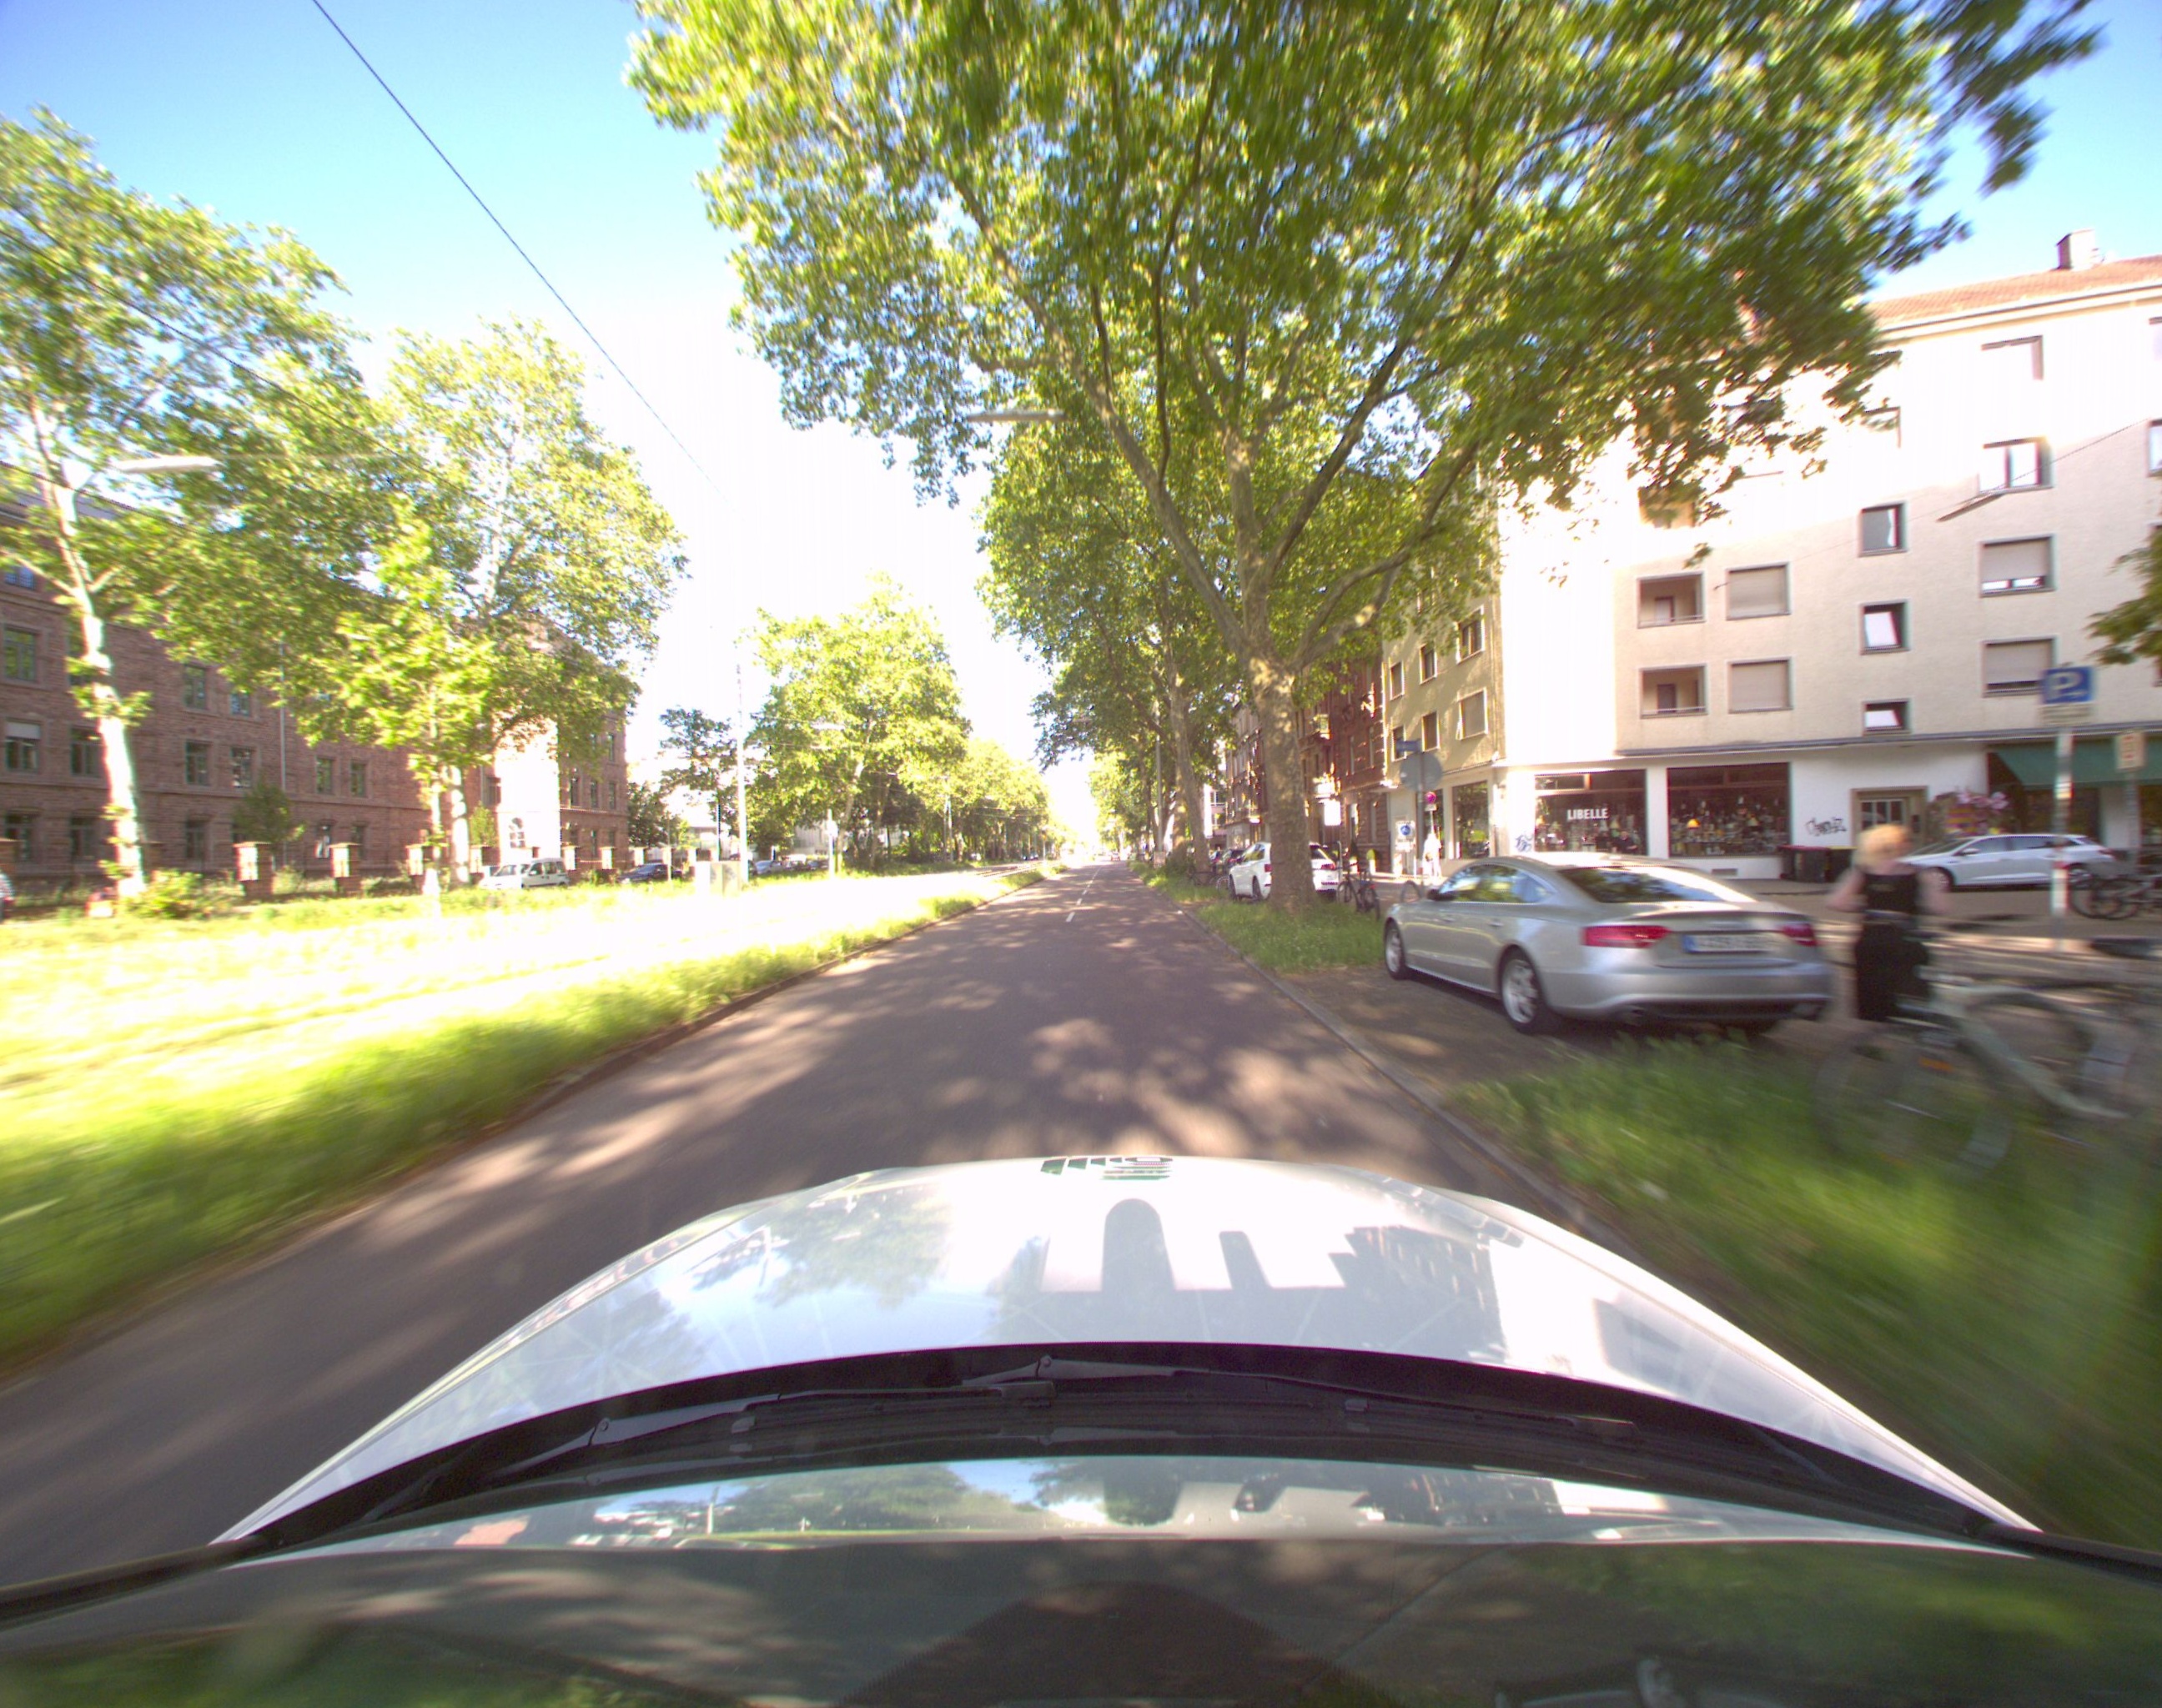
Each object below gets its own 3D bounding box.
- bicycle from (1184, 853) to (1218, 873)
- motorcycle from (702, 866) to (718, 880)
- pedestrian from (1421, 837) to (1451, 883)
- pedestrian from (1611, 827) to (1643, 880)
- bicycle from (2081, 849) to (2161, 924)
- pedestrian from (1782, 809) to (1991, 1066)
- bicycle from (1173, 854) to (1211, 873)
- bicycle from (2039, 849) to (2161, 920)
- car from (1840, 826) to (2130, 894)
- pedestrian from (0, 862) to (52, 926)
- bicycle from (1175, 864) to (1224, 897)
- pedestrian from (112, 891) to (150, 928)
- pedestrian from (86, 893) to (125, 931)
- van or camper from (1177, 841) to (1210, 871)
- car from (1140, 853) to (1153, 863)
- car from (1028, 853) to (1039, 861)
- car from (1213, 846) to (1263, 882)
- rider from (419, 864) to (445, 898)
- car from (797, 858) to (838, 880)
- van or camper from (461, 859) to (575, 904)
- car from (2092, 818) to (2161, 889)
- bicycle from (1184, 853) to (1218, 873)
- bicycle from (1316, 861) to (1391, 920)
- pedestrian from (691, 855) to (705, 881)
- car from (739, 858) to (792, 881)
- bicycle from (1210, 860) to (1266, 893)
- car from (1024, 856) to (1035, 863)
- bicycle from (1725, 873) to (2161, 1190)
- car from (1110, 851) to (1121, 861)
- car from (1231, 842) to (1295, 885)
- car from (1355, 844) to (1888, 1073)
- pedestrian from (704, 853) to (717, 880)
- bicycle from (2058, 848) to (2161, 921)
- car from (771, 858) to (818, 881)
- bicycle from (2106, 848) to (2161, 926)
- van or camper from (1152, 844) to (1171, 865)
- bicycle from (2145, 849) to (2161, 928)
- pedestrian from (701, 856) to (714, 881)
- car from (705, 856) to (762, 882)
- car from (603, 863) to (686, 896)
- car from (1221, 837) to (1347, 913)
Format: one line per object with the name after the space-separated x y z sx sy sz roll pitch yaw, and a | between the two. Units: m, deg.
7.845 0.584 53.405 2.154 1.294 0.984 0 0 3 | bicycle
-27.981 1.416 61.414 0.581 1.053 1.294 -1 -1 2 | motorcycle
13.356 0.212 30.680 0.792 1.704 0.724 -2 0 2 | pedestrian
17.377 -0.011 25.925 0.587 1.650 0.727 -1 0 13 | pedestrian
16.510 0.467 12.060 2.119 1.103 0.511 -1 0 26 | bicycle
5.399 0.525 5.507 0.685 1.611 0.713 1 0 2 | pedestrian
7.791 0.631 57.222 2.544 1.294 0.973 0 0 -5 | bicycle
17.002 0.480 13.037 2.119 1.103 0.475 -1 0 26 | bicycle
22.686 0.158 20.701 4.550 1.581 2.009 -1 0 17 | car
-32.405 1.205 24.787 0.897 1.899 0.942 -2 0 3 | pedestrian
3.987 0.882 27.314 1.584 1.058 0.405 -1 0 8 | bicycle
-29.500 1.724 25.296 0.442 1.100 0.587 -2 0 -3 | pedestrian
-29.575 1.750 24.695 0.584 1.100 0.479 -2 0 0 | pedestrian
8.308 0.176 60.524 1.827 2.098 4.774 1 0 0 | van or camper
10.109 0.584 126.091 1.678 1.514 3.666 -1 0 0 | car
-11.345 0.734 193.754 1.985 1.870 4.876 -3 0 3 | car
7.313 0.441 38.288 1.688 1.507 4.585 -2 1 3 | car
-32.039 1.309 40.208 0.725 1.644 0.686 -2 0 2 | rider
-23.840 1.315 73.950 2.102 1.809 4.738 -2 0 0 | car
-25.132 1.186 36.574 1.987 1.787 4.431 -2 0 0 | van or camper
27.501 -0.060 19.114 4.347 1.644 2.009 -1 0 17 | car
8.041 0.588 54.552 2.156 1.294 0.983 0 0 2 | bicycle
4.751 0.604 14.352 0.636 0.925 2.165 -1 0 2 | bicycle
-30.593 1.124 65.078 0.712 2.013 0.626 -2 0 2 | pedestrian
-24.323 1.184 62.960 1.983 1.615 4.428 -2 0 6 | car
4.758 0.664 24.652 1.773 0.928 0.646 -1 0 -39 | bicycle
-10.901 1.145 173.534 1.788 1.508 4.342 -4 0 3 | car
3.980 0.667 3.376 2.063 1.124 0.677 -1 0 0 | bicycle
6.424 0.379 152.512 2.014 1.662 4.001 -1 0 1 | car
7.142 0.313 32.359 1.688 1.530 4.263 -2 1 2 | car
4.214 0.652 7.591 1.747 1.398 5.028 -1 0 2 | car
-27.976 0.955 61.444 0.583 2.013 0.710 -1 0 1 | pedestrian
16.762 0.468 12.567 2.119 1.103 0.511 -1 0 26 | bicycle
-24.032 1.277 68.534 2.101 1.809 4.739 -2 0 1 | car
16.264 0.459 11.543 2.119 1.103 0.511 -1 0 26 | bicycle
9.656 0.073 98.207 2.174 2.480 6.276 1 0 5 | van or camper
15.977 0.458 10.878 2.119 1.103 0.511 -1 0 26 | bicycle
-29.808 1.146 65.036 0.712 2.013 0.626 -2 0 2 | pedestrian
-24.445 1.030 57.466 1.759 1.719 4.428 -2 0 6 | car
-24.971 1.397 46.815 1.985 1.649 4.830 -1 1 2 | car
4.941 0.458 20.544 1.897 1.636 4.822 -1 0 -1 | car
